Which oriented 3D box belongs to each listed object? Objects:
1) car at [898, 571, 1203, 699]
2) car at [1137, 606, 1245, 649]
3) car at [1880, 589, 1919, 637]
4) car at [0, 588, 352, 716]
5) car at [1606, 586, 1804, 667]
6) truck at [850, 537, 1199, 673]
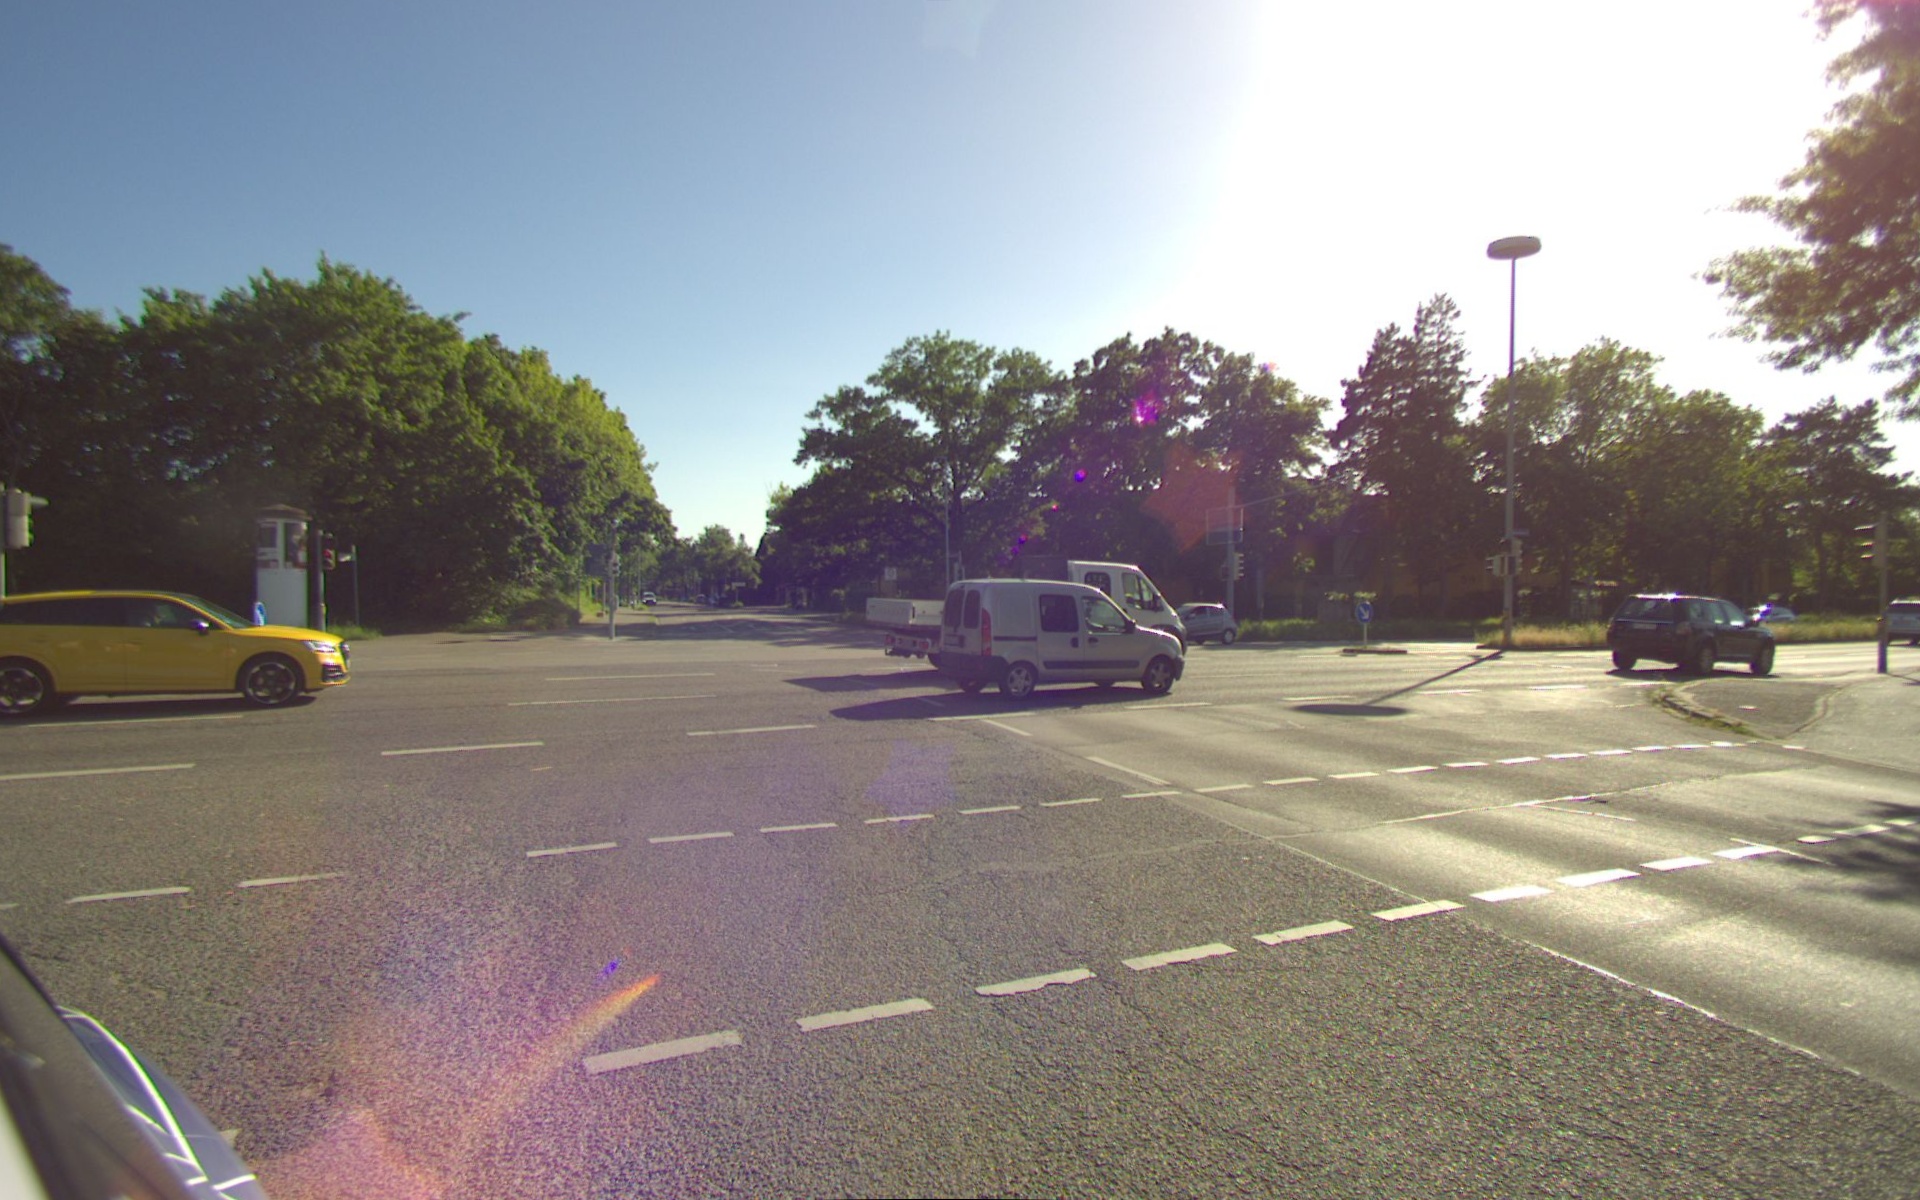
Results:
[{"bbox_3d":[1.413,0.483,15.726,4.289,1.741,1.927,1,2,-26],"label":"car"},{"bbox_3d":[8.261,0.955,36.179,3.535,1.443,1.558,1,0,-26],"label":"car"},{"bbox_3d":[36.293,0.493,37.339,4.289,1.665,1.956,1,2,-26],"label":"car"},{"bbox_3d":[-10.393,0.621,13.252,4.049,1.450,1.698,1,2,-27],"label":"car"},{"bbox_3d":[17.019,0.570,23.097,4.315,1.696,1.834,1,1,-27],"label":"car"},{"bbox_3d":[1.368,0.112,19.858,6.657,2.327,2.199,0,0,-28],"label":"truck"}]
